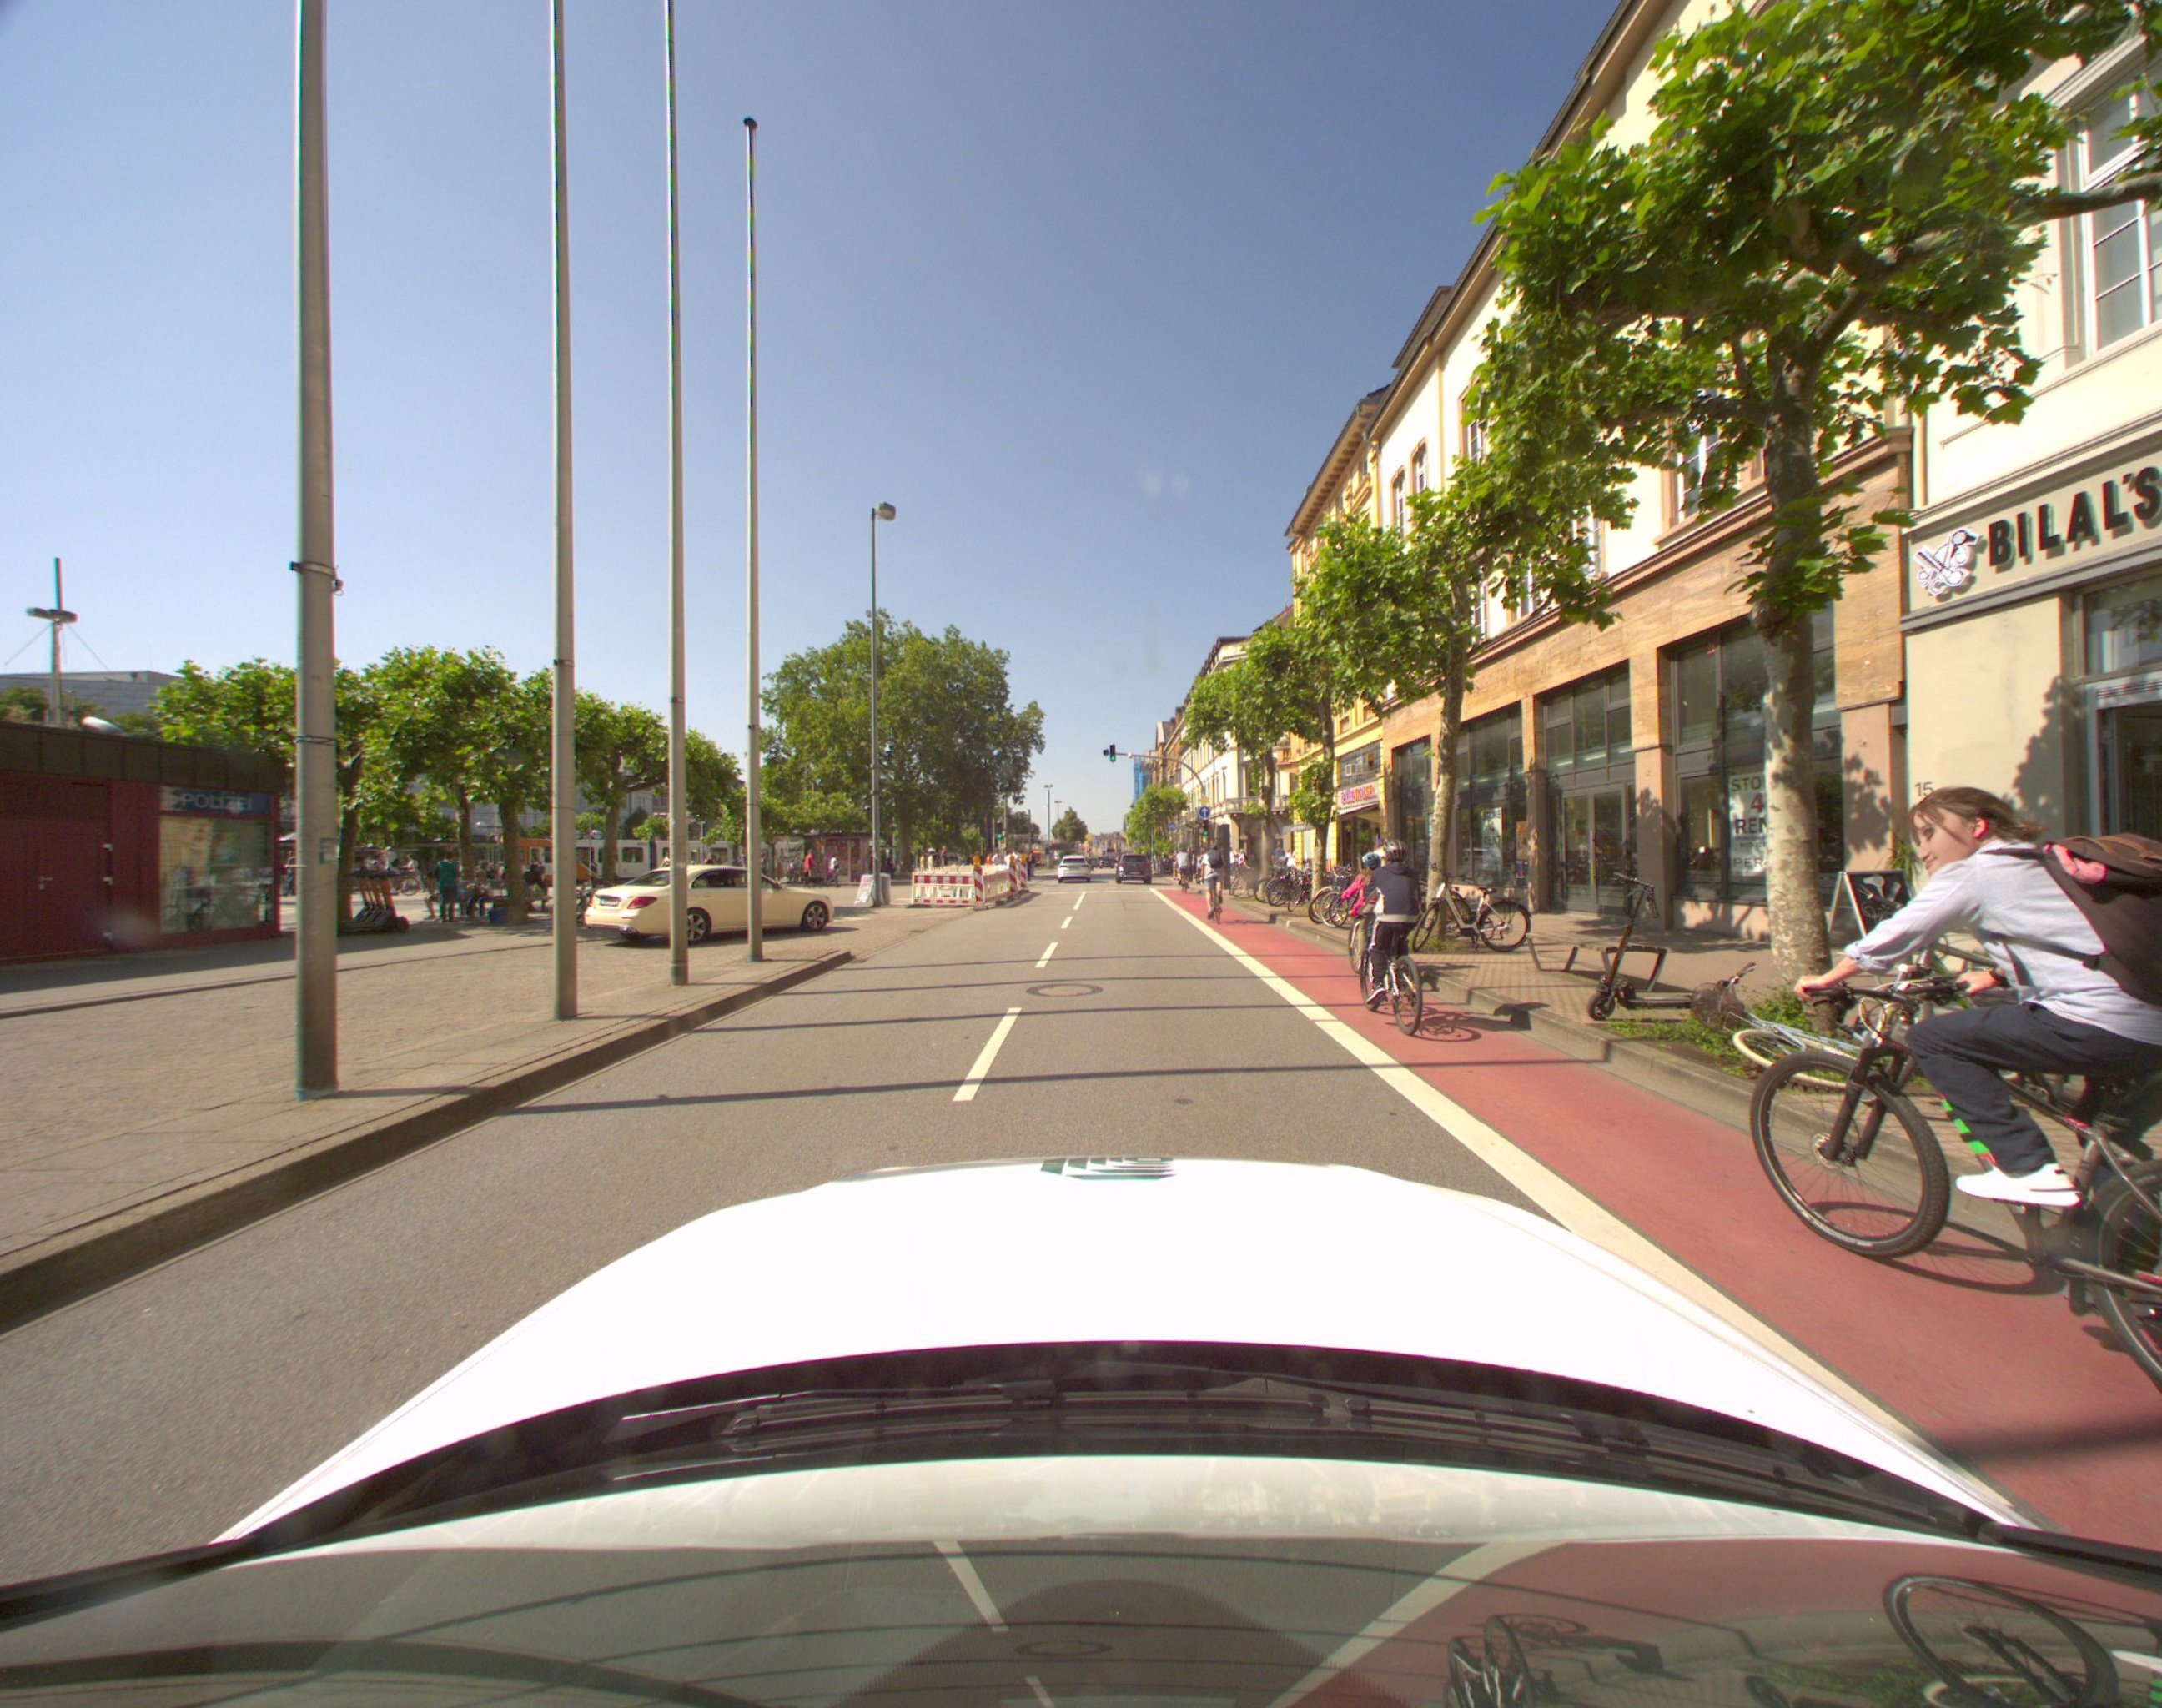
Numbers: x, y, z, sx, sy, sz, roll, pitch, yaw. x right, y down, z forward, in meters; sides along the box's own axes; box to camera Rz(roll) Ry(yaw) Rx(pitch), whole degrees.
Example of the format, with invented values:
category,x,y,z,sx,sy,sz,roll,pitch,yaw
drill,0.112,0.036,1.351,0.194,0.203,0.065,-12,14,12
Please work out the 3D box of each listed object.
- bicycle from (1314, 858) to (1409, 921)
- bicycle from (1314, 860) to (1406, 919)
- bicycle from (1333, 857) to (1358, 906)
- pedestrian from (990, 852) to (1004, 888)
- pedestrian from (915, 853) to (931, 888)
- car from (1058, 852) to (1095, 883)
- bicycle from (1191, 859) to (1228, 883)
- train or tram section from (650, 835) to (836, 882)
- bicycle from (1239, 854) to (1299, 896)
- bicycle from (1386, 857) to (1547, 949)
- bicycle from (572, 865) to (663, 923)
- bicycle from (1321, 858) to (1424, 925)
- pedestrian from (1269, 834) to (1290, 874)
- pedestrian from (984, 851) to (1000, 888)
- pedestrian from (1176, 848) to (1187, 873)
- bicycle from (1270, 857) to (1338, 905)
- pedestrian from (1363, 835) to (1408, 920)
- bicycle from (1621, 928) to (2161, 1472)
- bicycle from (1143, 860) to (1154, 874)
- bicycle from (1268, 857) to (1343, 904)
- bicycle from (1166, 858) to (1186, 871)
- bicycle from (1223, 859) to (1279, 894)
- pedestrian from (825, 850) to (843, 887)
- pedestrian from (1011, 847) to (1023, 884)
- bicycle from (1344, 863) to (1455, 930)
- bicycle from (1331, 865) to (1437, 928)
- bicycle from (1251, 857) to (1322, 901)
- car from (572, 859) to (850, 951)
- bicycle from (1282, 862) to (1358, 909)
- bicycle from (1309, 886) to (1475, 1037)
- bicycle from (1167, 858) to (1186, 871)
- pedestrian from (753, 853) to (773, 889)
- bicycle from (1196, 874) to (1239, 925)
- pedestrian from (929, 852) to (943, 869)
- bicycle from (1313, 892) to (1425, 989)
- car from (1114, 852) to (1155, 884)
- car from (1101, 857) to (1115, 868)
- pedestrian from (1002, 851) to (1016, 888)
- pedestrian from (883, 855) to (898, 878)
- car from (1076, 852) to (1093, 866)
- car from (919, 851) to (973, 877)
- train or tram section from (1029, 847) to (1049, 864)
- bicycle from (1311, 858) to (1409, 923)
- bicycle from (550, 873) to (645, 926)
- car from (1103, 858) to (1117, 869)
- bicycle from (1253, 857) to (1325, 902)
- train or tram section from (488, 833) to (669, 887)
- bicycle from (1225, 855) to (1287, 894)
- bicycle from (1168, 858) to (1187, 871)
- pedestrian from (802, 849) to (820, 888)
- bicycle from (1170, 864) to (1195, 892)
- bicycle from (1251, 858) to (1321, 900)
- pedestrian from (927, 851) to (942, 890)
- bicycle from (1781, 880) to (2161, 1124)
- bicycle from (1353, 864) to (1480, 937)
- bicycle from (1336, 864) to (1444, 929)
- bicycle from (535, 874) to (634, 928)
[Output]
category,x,y,z,sx,sy,sz,roll,pitch,yaw
bicycle,5.597,0.699,16.284,1.721,1.217,0.478,-1,0,3
bicycle,5.723,0.726,16.768,1.721,1.162,0.478,-1,0,3
bicycle,6.733,0.688,20.799,0.469,1.188,1.660,-1,0,14
pedestrian,-4.118,0.773,39.777,0.536,1.779,0.607,0,-1,7
pedestrian,-7.951,0.821,40.960,0.581,1.721,0.790,-1,3,4
car,-0.215,0.710,44.811,1.838,1.560,4.002,-2,0,2
bicycle,5.970,0.786,38.045,0.604,1.082,1.820,-3,0,-33
train or tram section,-28.573,0.288,70.325,2.587,3.676,15.647,-1,0,37
bicycle,6.131,0.662,26.551,1.826,1.309,0.684,-1,0,-19
bicycle,5.419,0.681,11.541,1.923,1.248,0.737,-1,0,4
bicycle,-10.754,0.921,18.928,1.777,1.309,0.562,-1,0,-2
bicycle,5.380,0.687,15.073,1.721,1.217,0.478,-1,0,3
pedestrian,9.224,0.008,37.925,0.655,1.790,1.233,-1,-2,1
pedestrian,-4.260,0.737,38.944,0.542,1.718,0.600,1,-1,-29
pedestrian,6.808,0.459,55.198,0.581,1.673,0.605,-4,-1,0
bicycle,5.741,0.693,21.015,1.642,1.201,0.475,-1,0,4
pedestrian,5.941,0.452,15.909,0.612,1.612,0.745,-1,0,3
bicycle,2.904,0.912,2.788,0.696,1.127,2.080,0,0,-2
bicycle,4.755,0.906,57.243,0.645,0.998,2.031,-1,0,2
bicycle,5.883,0.693,21.426,1.835,1.201,0.475,-1,0,3
bicycle,7.186,0.802,61.710,1.415,0.980,0.445,-2,0,2
bicycle,5.852,0.764,28.036,1.777,1.122,0.562,-2,0,-2
pedestrian,-11.773,0.705,38.787,0.573,1.739,0.607,0,-1,7
pedestrian,-3.347,0.616,42.490,0.529,1.919,0.560,-1,-1,3
bicycle,5.413,0.717,13.876,1.721,1.109,0.403,-1,0,3
bicycle,5.452,0.762,14.709,1.721,1.109,0.478,-1,0,3
bicycle,5.726,0.700,22.742,1.835,1.201,0.609,-1,0,4
car,-7.136,0.902,16.343,1.873,1.542,4.891,0,-1,29
bicycle,5.697,0.750,19.493,1.642,1.095,0.607,-1,0,4
bicycle,2.777,0.898,7.540,0.696,1.127,2.080,0,0,-2
bicycle,7.372,0.801,63.116,1.415,0.980,0.445,-2,0,2
pedestrian,-13.697,0.730,35.068,0.573,1.532,0.607,0,-1,7
bicycle,2.984,0.970,18.018,0.628,0.980,2.089,-1,0,1
pedestrian,-9.612,0.439,53.844,0.627,1.144,0.669,-1,-1,23
bicycle,3.401,0.986,9.815,0.598,0.926,2.087,-1,0,0
car,2.740,0.675,42.392,1.840,1.559,3.999,1,0,-1
car,3.610,1.105,109.802,1.839,1.413,4.001,-1,0,1
pedestrian,-3.392,0.709,38.553,0.431,1.740,0.600,1,-1,-29
pedestrian,-12.679,0.818,54.252,0.627,1.478,0.735,-1,-1,23
car,0.424,0.587,92.965,1.839,1.560,4.001,-1,0,1
car,-10.418,0.775,63.056,1.843,1.955,4.787,-1,-1,23
train or tram section,-8.847,0.347,171.912,2.600,3.348,11.018,-1,0,5
bicycle,5.396,0.697,15.798,1.721,1.217,0.478,-1,0,3
bicycle,-10.884,1.014,18.360,1.777,1.132,0.562,-1,0,-2
car,4.521,1.428,127.920,1.841,1.668,3.996,0,0,-3
bicycle,5.672,0.694,22.237,1.835,1.201,0.545,-1,0,4
train or tram section,-36.515,0.369,59.842,2.587,3.676,11.072,-1,0,37
bicycle,5.844,0.673,27.156,1.938,1.257,0.701,-1,0,-18
bicycle,7.353,0.798,62.167,1.415,0.980,0.445,-2,0,2
pedestrian,-13.031,0.695,39.341,0.666,1.879,0.625,1,-1,-32
bicycle,4.020,0.929,32.456,0.771,1.006,2.330,-1,0,2
bicycle,5.865,0.722,23.370,1.835,1.164,0.660,-1,0,4
pedestrian,-7.192,0.806,39.946,0.573,1.891,0.654,0,-1,3
bicycle,5.061,0.755,4.445,1.830,1.186,0.671,0,0,6
bicycle,5.335,0.728,13.025,1.721,1.109,0.737,-1,0,4
bicycle,5.403,0.746,14.291,1.721,1.109,0.403,-1,0,3
bicycle,-10.753,1.012,17.668,1.777,1.105,0.562,-1,0,-2
